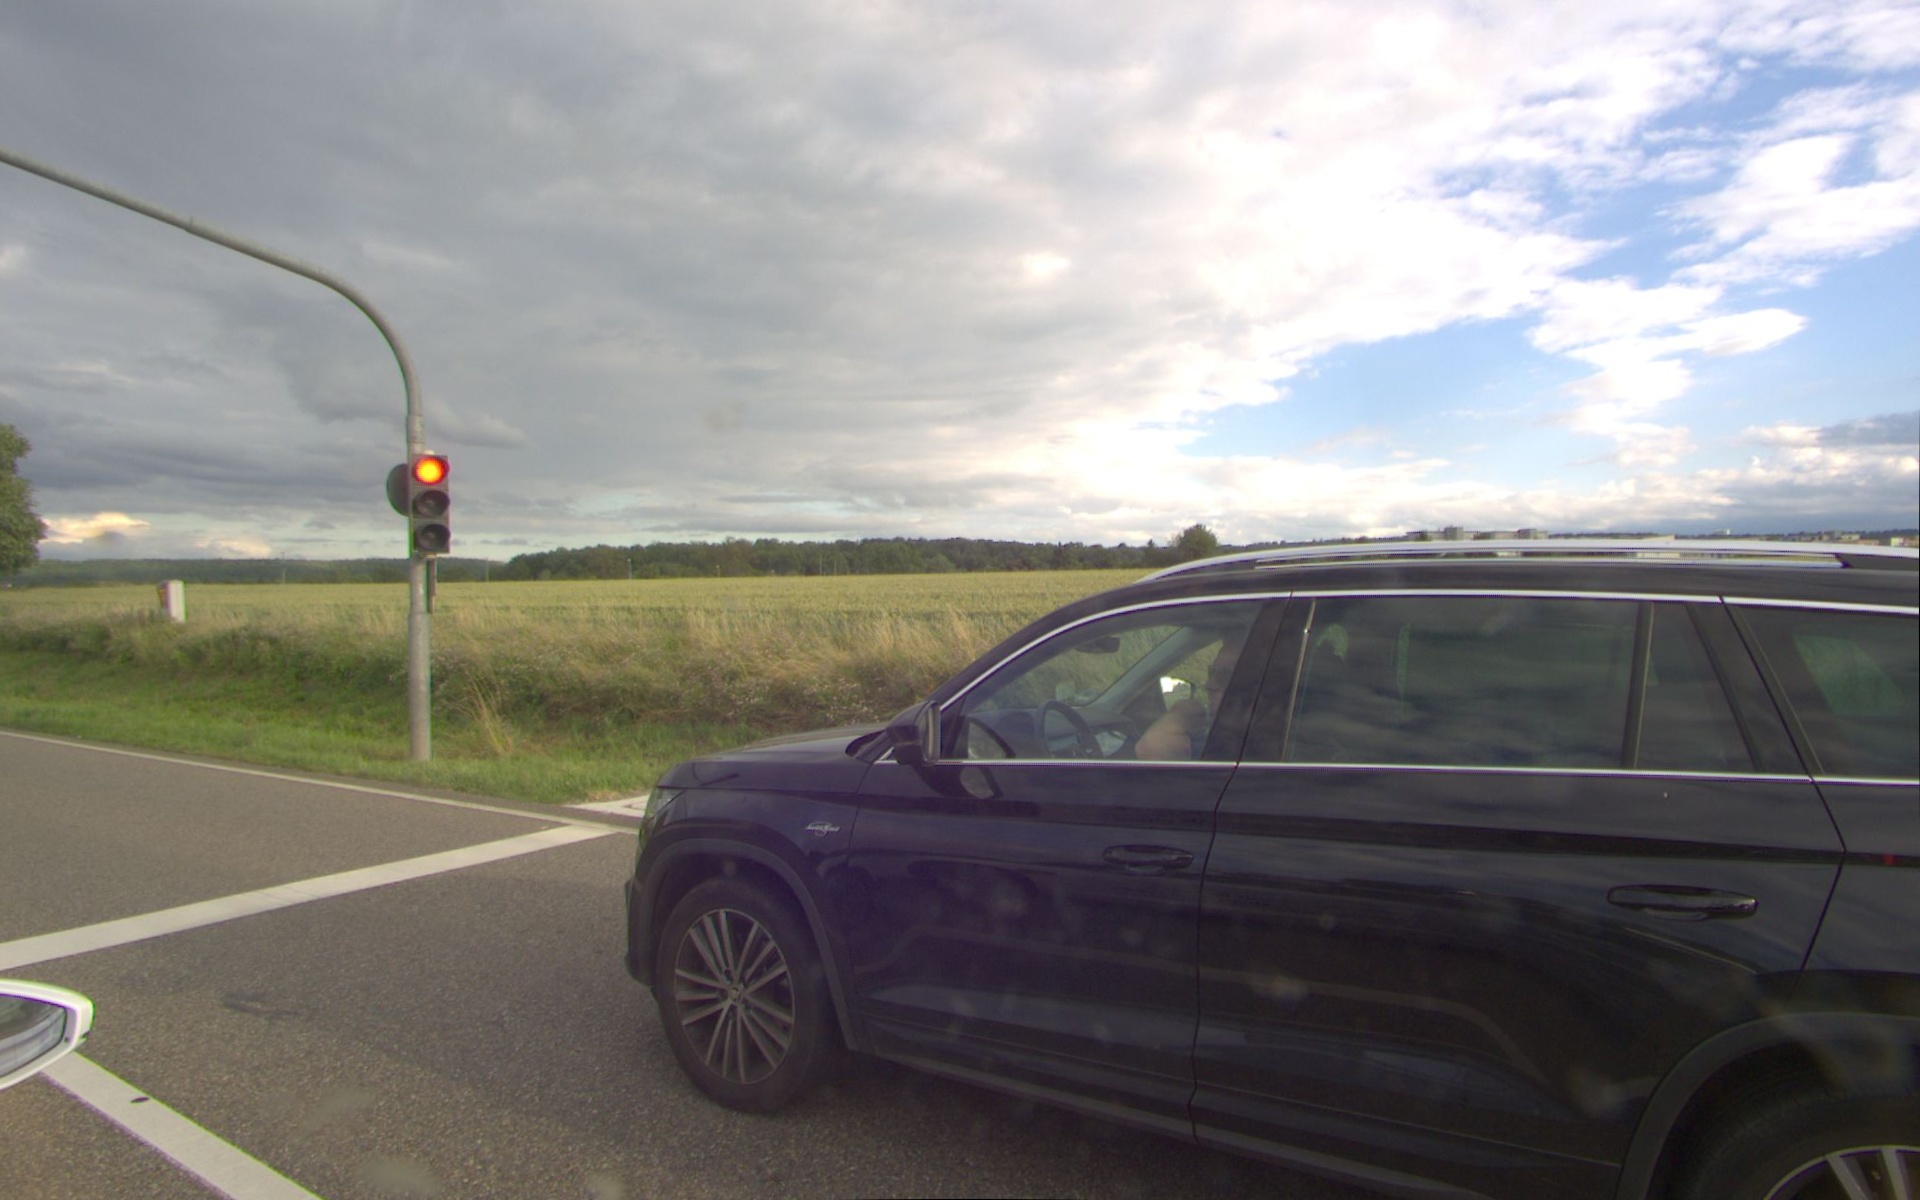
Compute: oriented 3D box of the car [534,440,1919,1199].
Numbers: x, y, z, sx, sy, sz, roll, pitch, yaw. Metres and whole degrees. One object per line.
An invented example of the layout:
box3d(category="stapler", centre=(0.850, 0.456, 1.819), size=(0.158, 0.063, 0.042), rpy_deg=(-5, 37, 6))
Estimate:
box3d(category="car", centre=(0.886, 0.670, 3.082), size=(4.492, 1.730, 1.833), rpy_deg=(-1, -2, 32))
